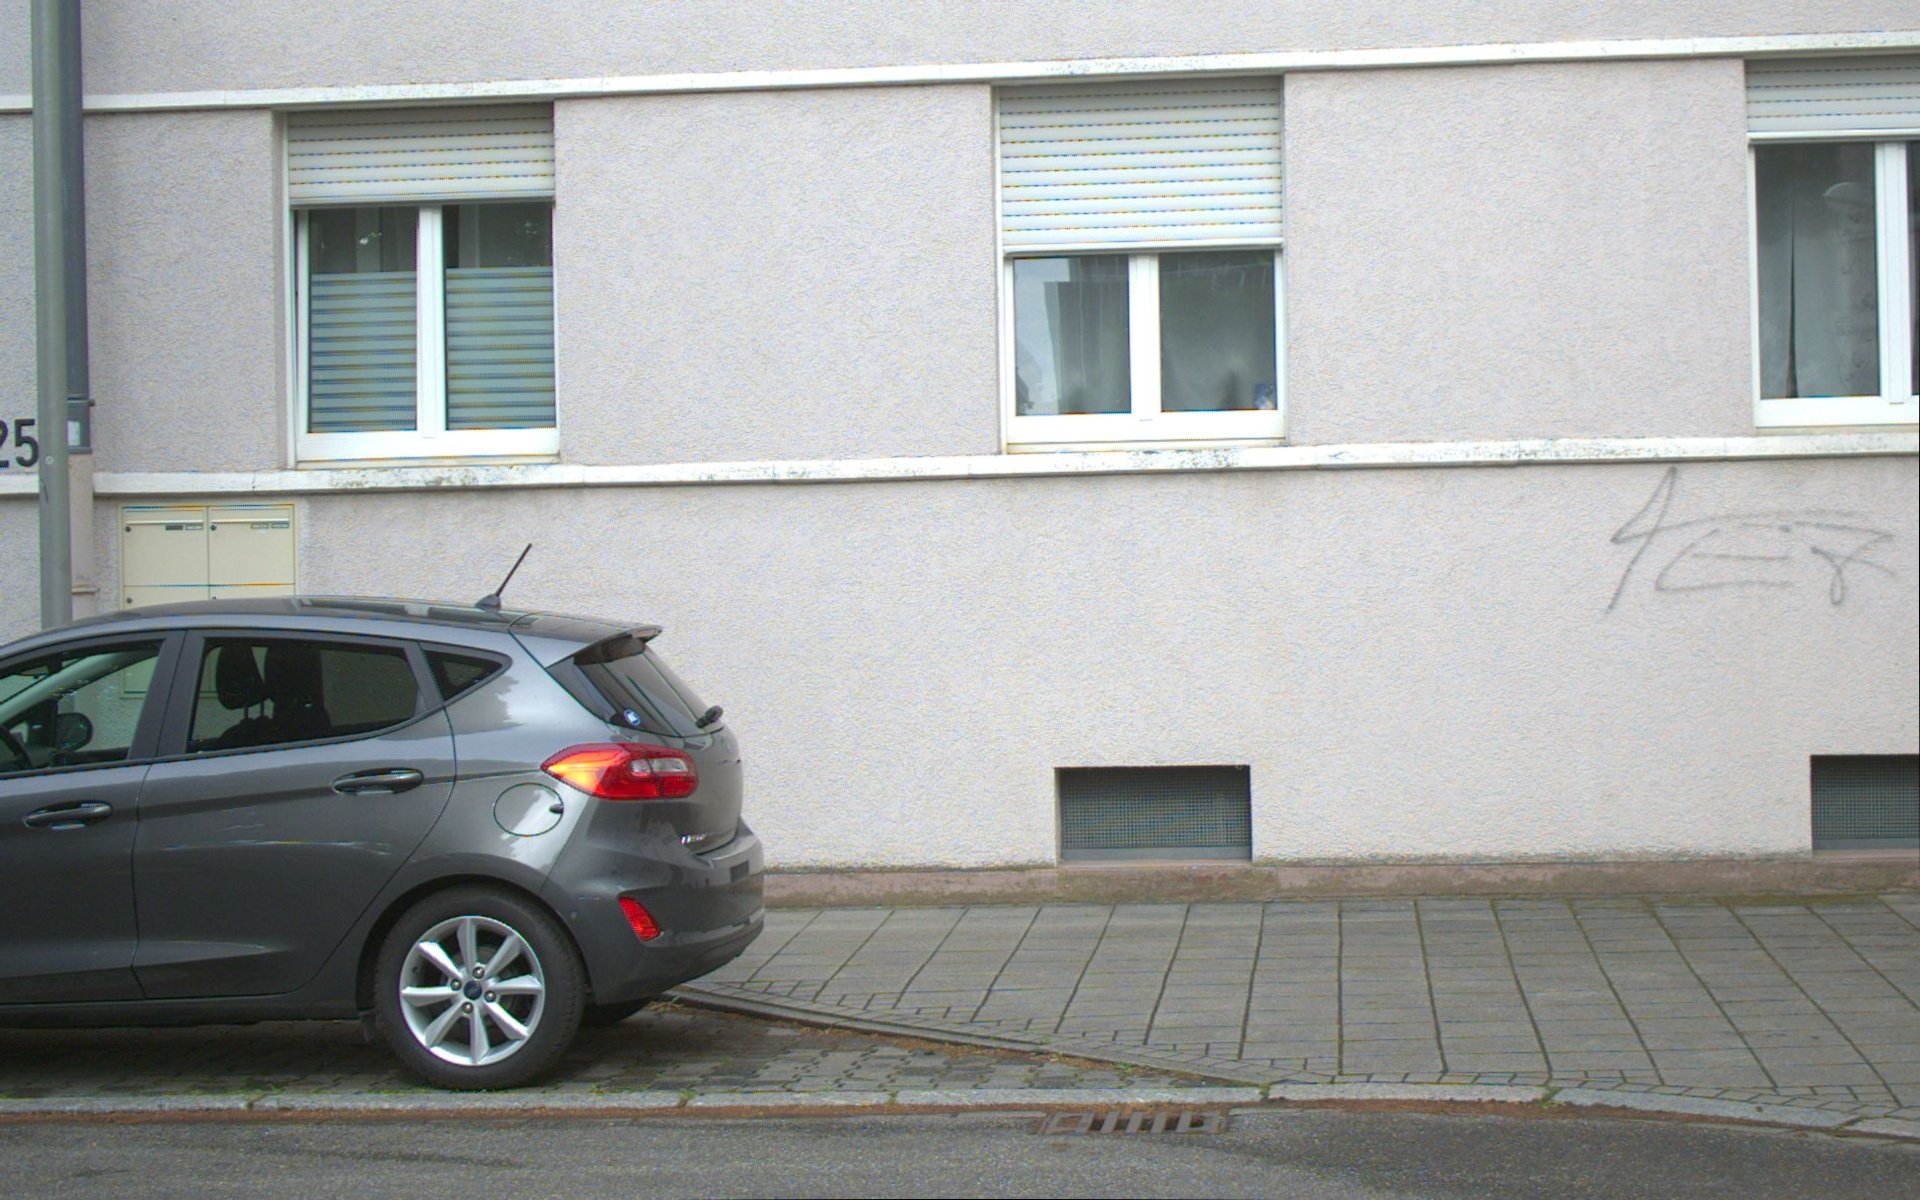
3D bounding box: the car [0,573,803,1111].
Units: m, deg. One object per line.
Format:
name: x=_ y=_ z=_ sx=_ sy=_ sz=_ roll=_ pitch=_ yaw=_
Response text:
car: x=-2.644 y=0.711 z=10.972 sx=4.066 sy=1.520 sz=1.762 roll=-1 pitch=1 yaw=5
